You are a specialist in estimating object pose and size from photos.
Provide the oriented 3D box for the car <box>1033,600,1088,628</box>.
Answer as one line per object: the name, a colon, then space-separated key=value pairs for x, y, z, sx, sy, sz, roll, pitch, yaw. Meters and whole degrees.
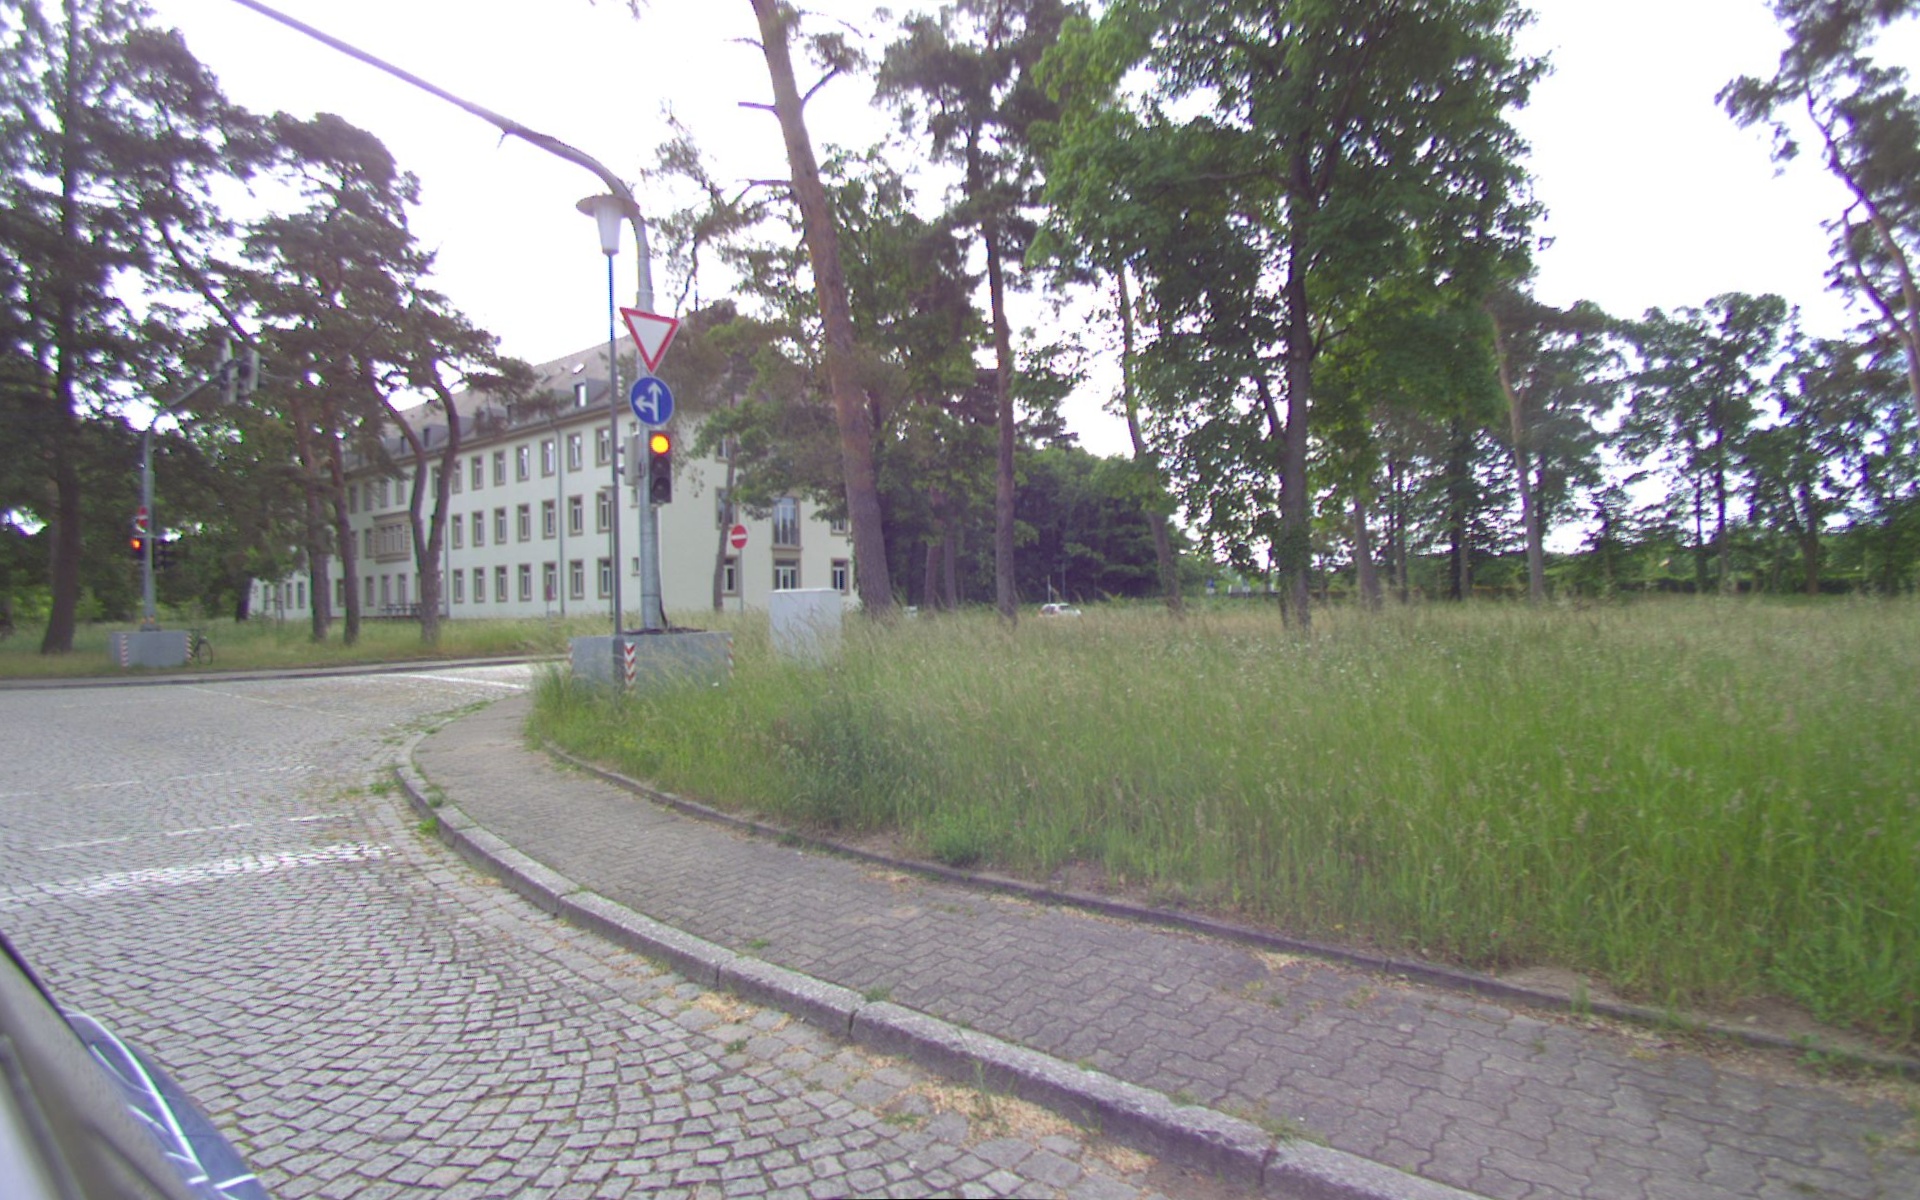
car: x=6.900 y=0.954 z=68.979 sx=1.722 sy=1.820 sz=3.944 roll=-2 pitch=-1 yaw=42

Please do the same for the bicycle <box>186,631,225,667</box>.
bicycle: x=-19.994 y=1.302 z=26.811 sx=1.045 sy=0.923 sz=0.291 roll=-1 pitch=-1 yaw=19
